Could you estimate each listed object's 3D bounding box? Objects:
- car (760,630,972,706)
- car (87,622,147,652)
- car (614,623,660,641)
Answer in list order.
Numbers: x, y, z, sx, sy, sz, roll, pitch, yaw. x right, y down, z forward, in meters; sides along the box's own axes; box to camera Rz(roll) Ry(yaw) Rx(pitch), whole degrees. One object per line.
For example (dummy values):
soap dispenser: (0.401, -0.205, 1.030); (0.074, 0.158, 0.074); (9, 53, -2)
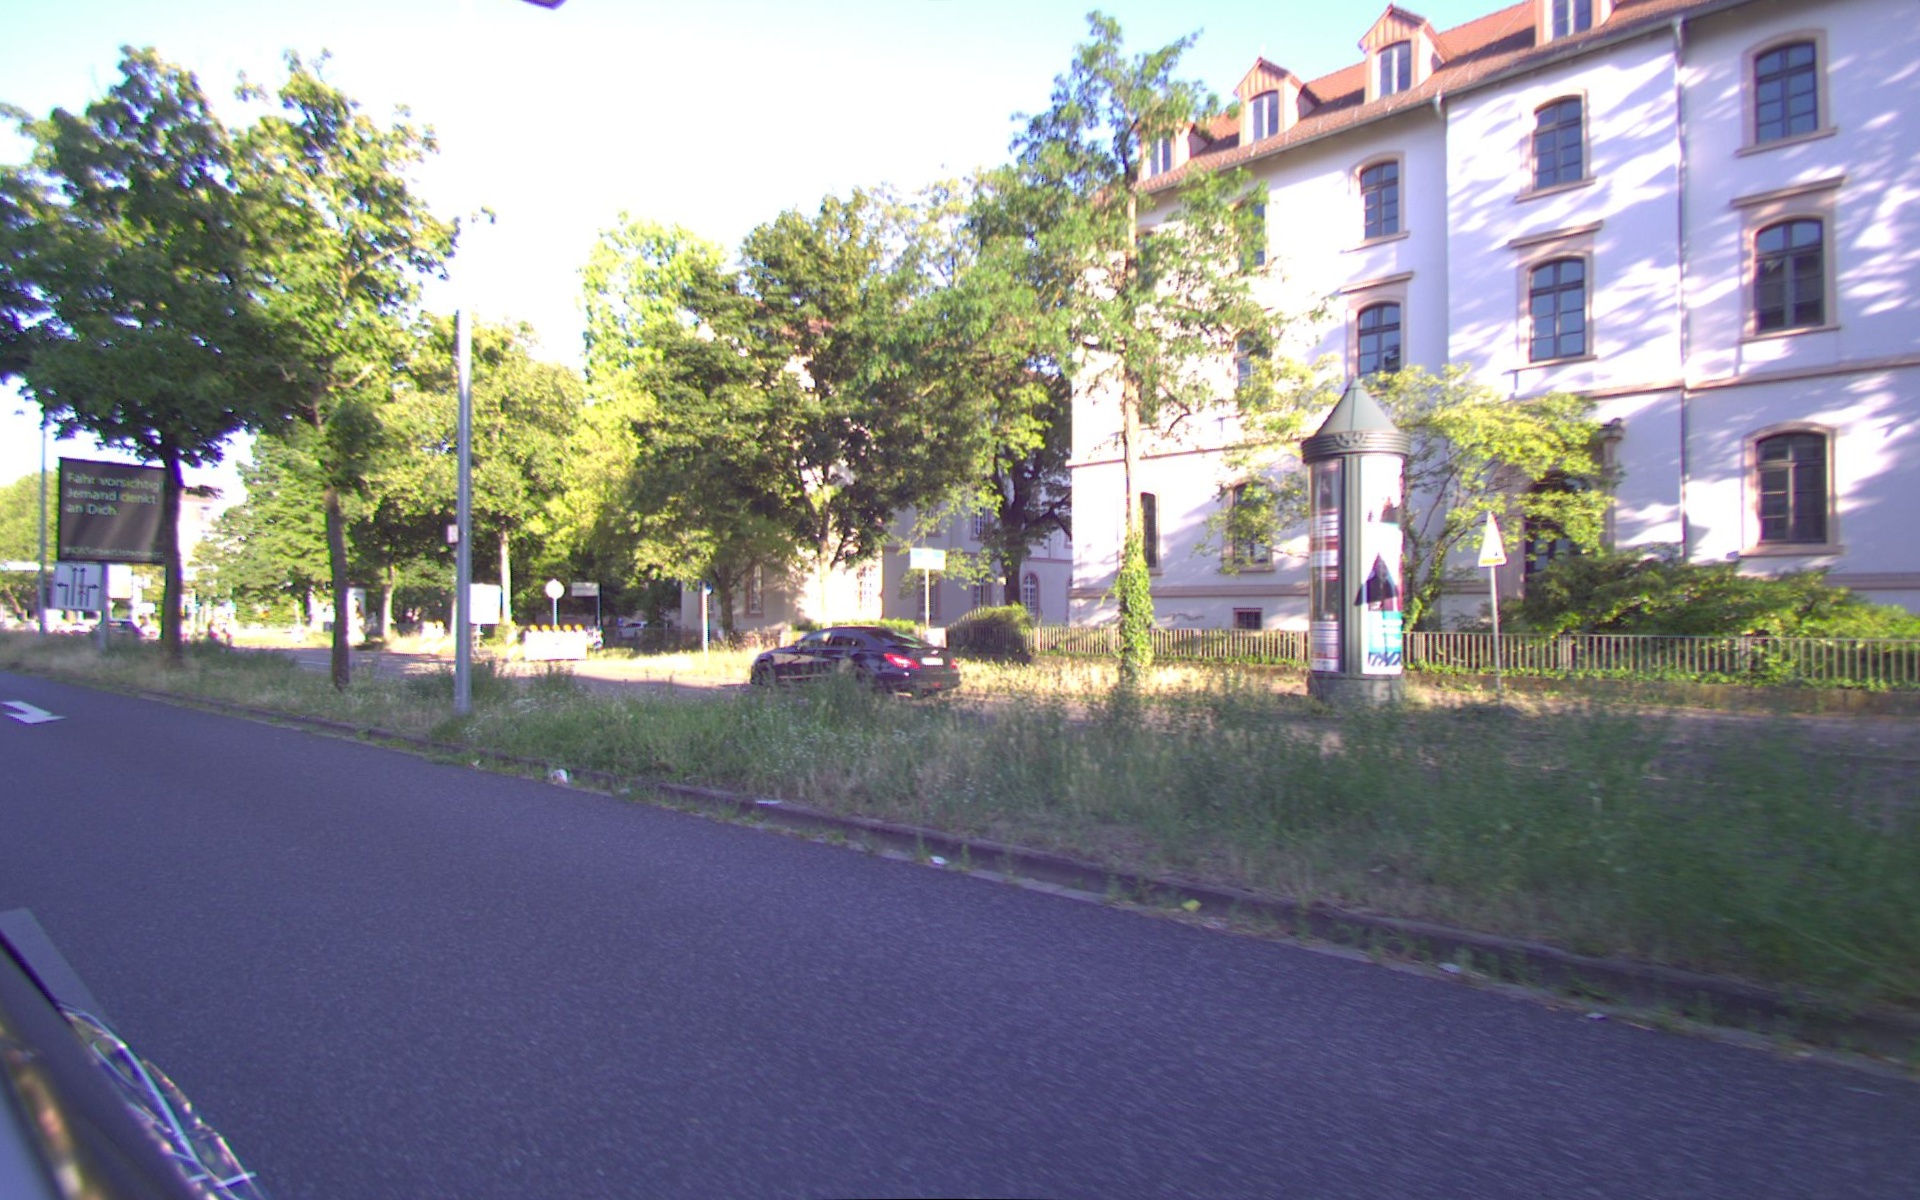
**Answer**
car: (-1.875, 1.272, 19.389); (4.006, 1.283, 1.755); (-1, -5, 42)
car: (-44.532, 1.945, 53.449); (4.006, 1.428, 1.755); (-1, -5, 42)
car: (-25.731, 2.532, 80.546); (3.998, 1.386, 1.677); (-1, 0, 41)
